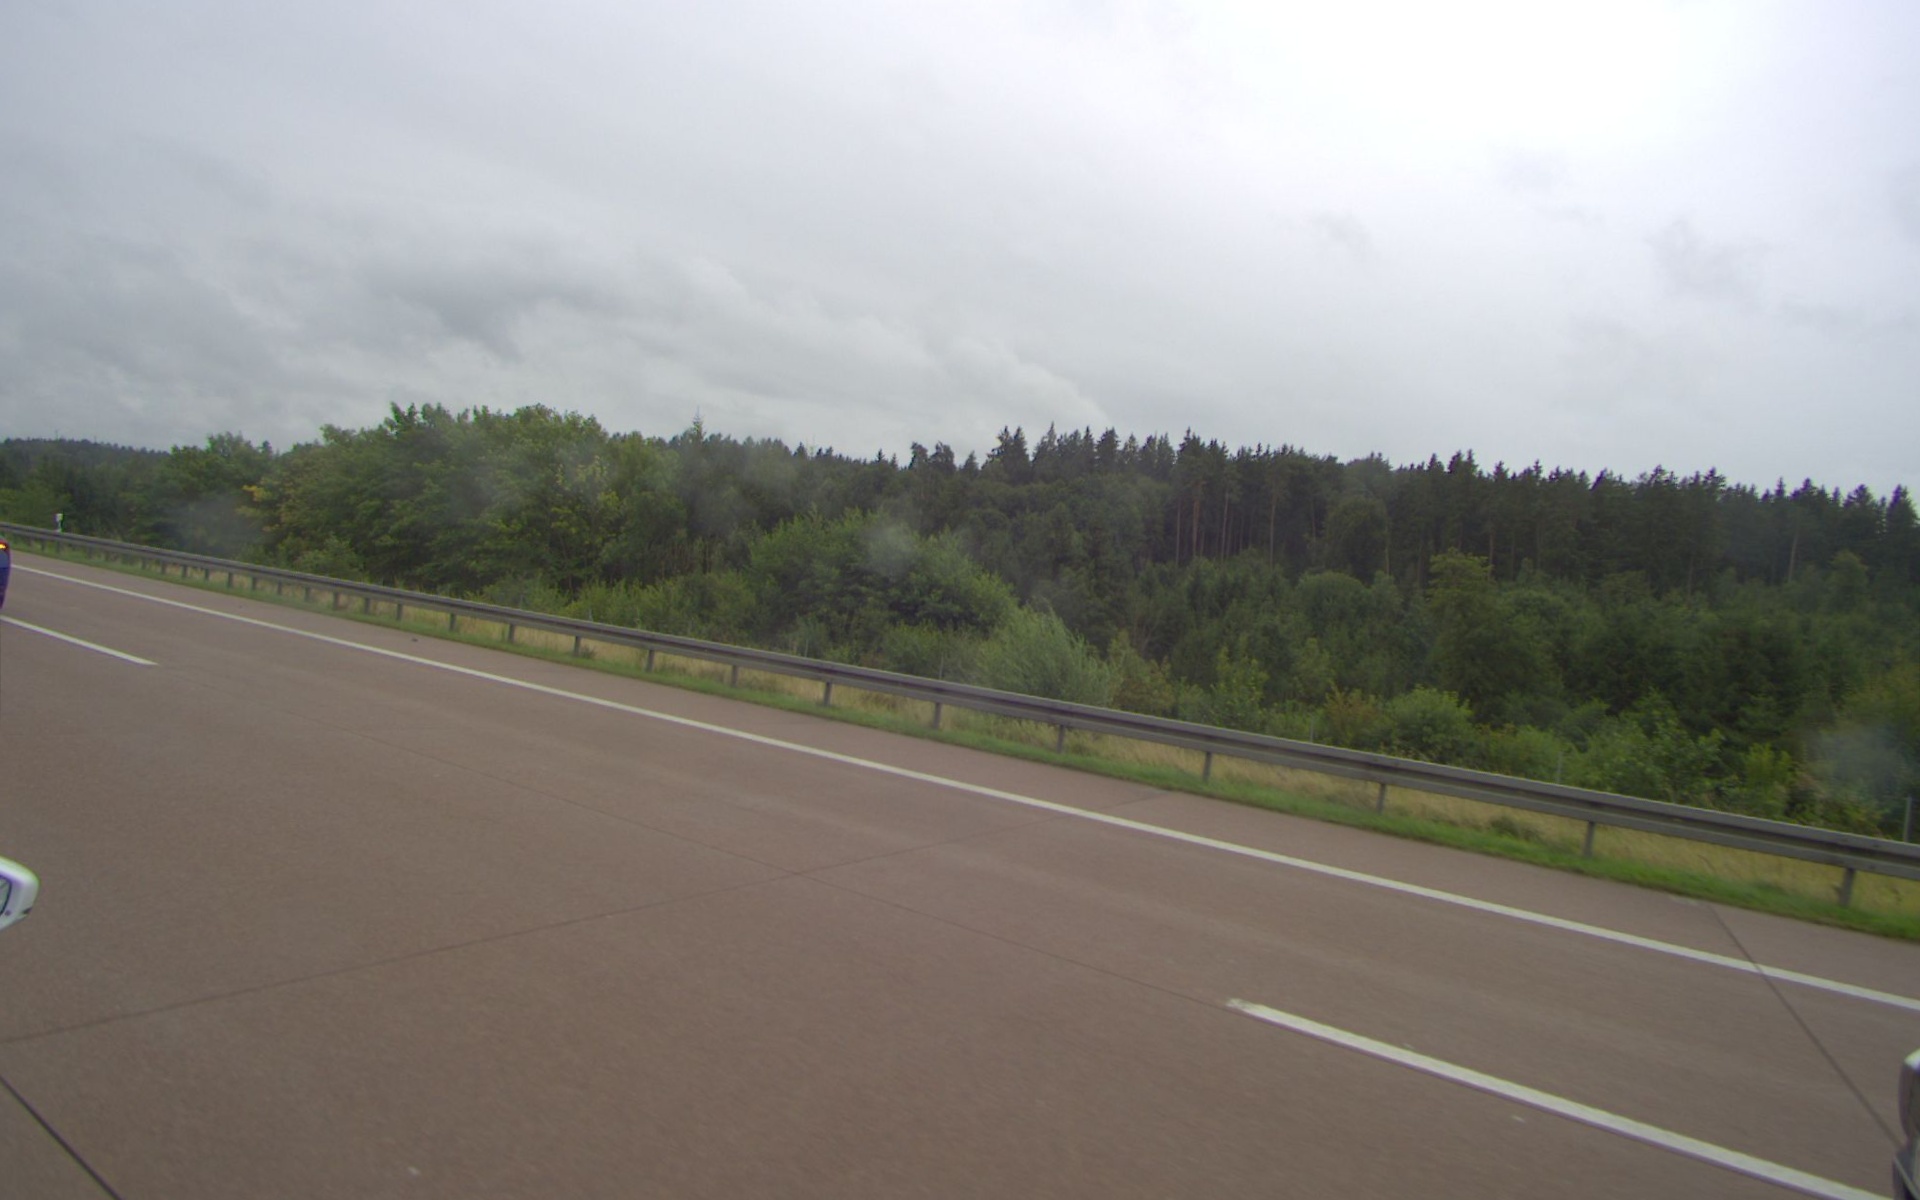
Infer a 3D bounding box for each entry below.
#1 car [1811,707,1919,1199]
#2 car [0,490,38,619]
[{"bbox_3d":[4.646,1.262,0.781,5.724,1.611,1.998,5,-3,32],"label":"car"},{"bbox_3d":[-13.993,-0.788,13.136,4.079,1.582,1.774,5,-3,33],"label":"car"}]
